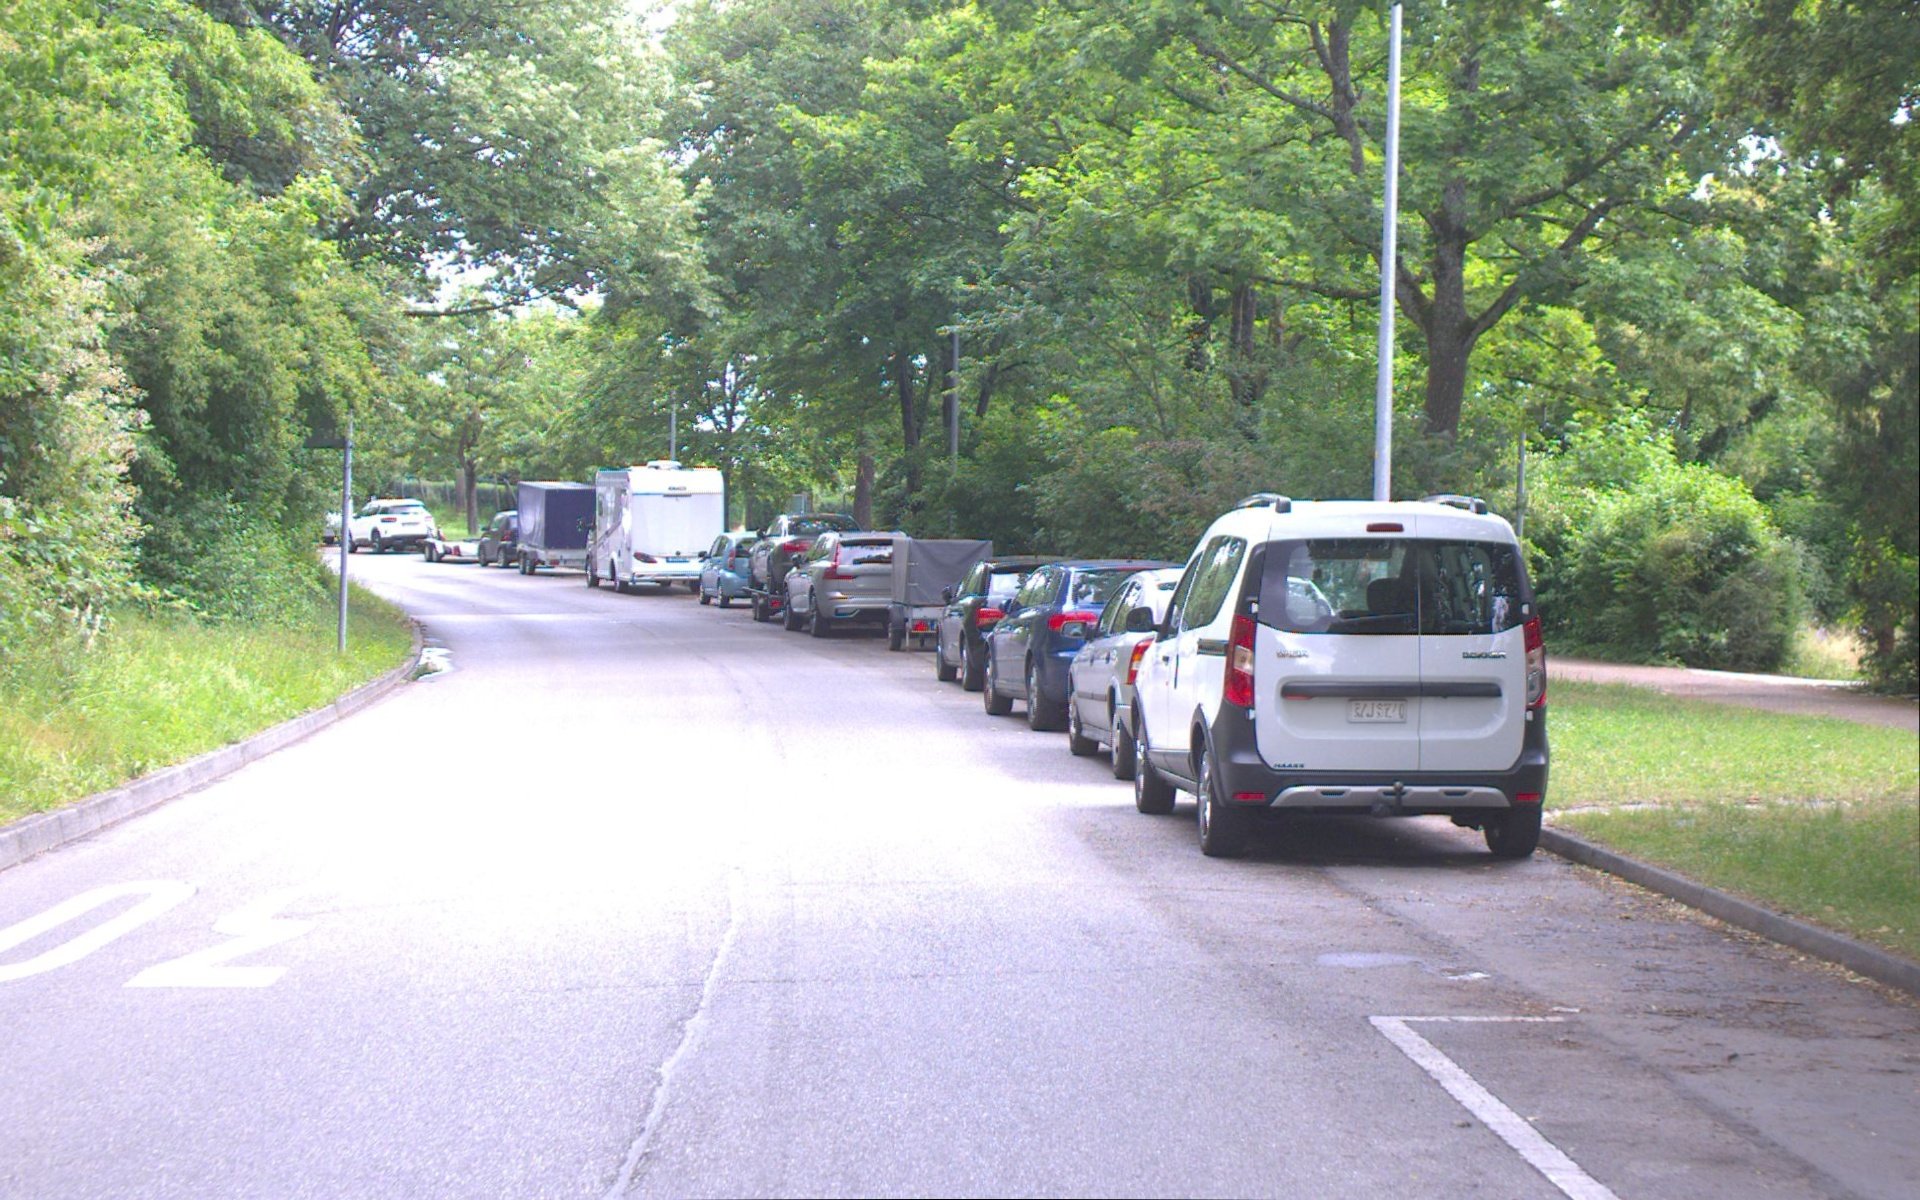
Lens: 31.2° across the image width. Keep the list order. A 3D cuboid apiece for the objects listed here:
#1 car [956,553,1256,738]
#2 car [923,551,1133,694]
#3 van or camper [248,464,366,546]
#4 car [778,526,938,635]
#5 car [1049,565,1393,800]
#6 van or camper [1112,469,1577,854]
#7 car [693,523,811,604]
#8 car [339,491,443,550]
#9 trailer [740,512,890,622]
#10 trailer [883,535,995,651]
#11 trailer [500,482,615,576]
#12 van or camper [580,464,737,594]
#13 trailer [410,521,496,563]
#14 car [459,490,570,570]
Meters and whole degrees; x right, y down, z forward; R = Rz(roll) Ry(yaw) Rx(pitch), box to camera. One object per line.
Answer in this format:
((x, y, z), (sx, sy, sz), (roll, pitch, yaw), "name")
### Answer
((1.203, 0.351, 30.468), (1.847, 1.469, 4.480), (1, 1, -8), "car")
((0.697, 0.215, 37.836), (1.720, 1.448, 3.918), (1, 1, -7), "car")
((-22.012, -3.231, 115.792), (2.526, 2.688, 4.576), (-1, 3, -30), "van or camper")
((-1.670, -0.296, 54.741), (1.791, 1.664, 4.503), (0, 0, -12), "car")
((1.759, 0.521, 24.527), (1.812, 1.432, 4.243), (2, 1, -4), "car")
((1.963, 0.314, 18.824), (1.801, 1.831, 4.321), (1, 0, -3), "van or camper")
((-4.284, -0.771, 70.239), (1.799, 1.556, 3.837), (0, 2, -13), "car")
((-17.921, -2.519, 108.080), (2.034, 1.797, 4.084), (-1, 2, -28), "car")
((-2.625, -0.627, 61.006), (1.978, 1.805, 5.150), (0, 2, -10), "trailer")
((-0.311, -0.120, 48.632), (1.278, 1.579, 2.461), (1, 1, -7), "trailer")
((-10.630, -1.881, 90.569), (1.993, 2.390, 4.001), (0, 1, -22), "trailer")
((-7.113, -1.674, 80.383), (2.481, 2.866, 6.892), (1, 1, -15), "van or camper")
((-14.668, -1.679, 99.390), (1.651, 1.083, 4.001), (-2, 3, -20), "trailer")
((-12.431, -1.978, 95.840), (1.993, 2.018, 4.002), (-3, 4, -23), "car")
